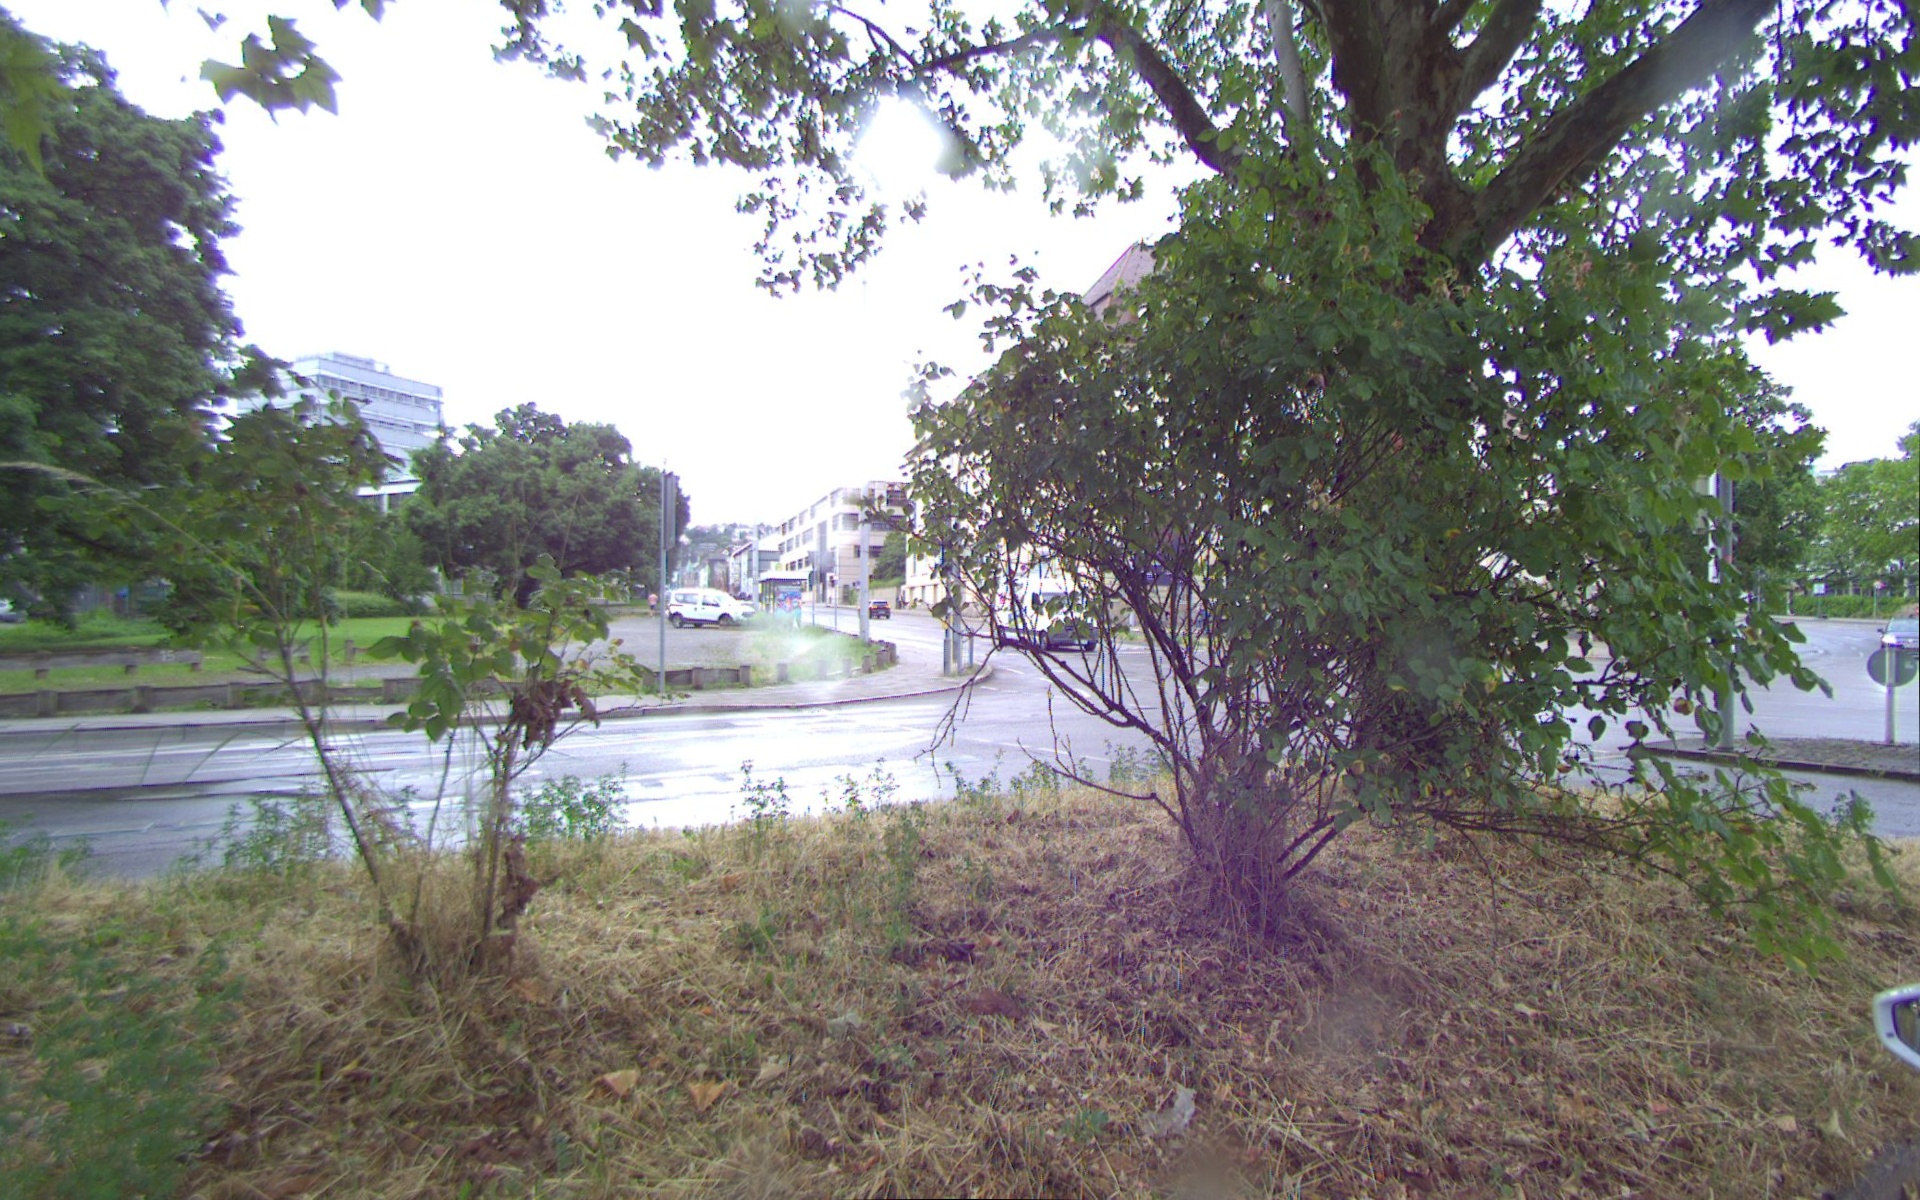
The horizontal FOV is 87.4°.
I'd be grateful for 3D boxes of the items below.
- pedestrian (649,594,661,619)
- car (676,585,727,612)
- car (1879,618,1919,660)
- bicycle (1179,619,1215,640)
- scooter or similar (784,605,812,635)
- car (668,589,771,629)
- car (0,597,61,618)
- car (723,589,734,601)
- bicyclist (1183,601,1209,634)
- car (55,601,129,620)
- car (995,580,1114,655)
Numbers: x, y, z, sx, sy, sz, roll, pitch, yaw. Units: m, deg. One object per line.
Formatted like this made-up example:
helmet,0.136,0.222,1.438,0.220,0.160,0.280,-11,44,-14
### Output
pedestrian,-19.751,0.411,65.055,0.557,1.548,0.669,2,0,-8
car,-17.494,-0.090,67.994,1.838,1.765,4.029,1,-1,-39
car,39.301,1.571,41.564,1.847,1.585,4.252,-1,-1,43
bicycle,12.308,1.530,52.166,0.642,1.070,1.800,2,-1,-39
scooter or similar,-6.582,0.816,40.843,0.541,1.182,1.253,2,0,20
car,-11.187,0.417,46.725,4.420,1.791,1.833,0,-1,24
car,-58.527,0.456,62.480,3.500,1.158,1.586,2,0,-18
car,-52.955,-1.225,230.168,1.969,2.652,3.983,2,0,-19
bicyclist,12.267,0.922,52.231,0.696,1.654,1.116,2,0,-38
car,-60.337,0.702,69.842,3.500,1.158,1.586,2,0,-18
car,3.362,0.578,37.231,2.034,2.527,6.010,0,0,-20
